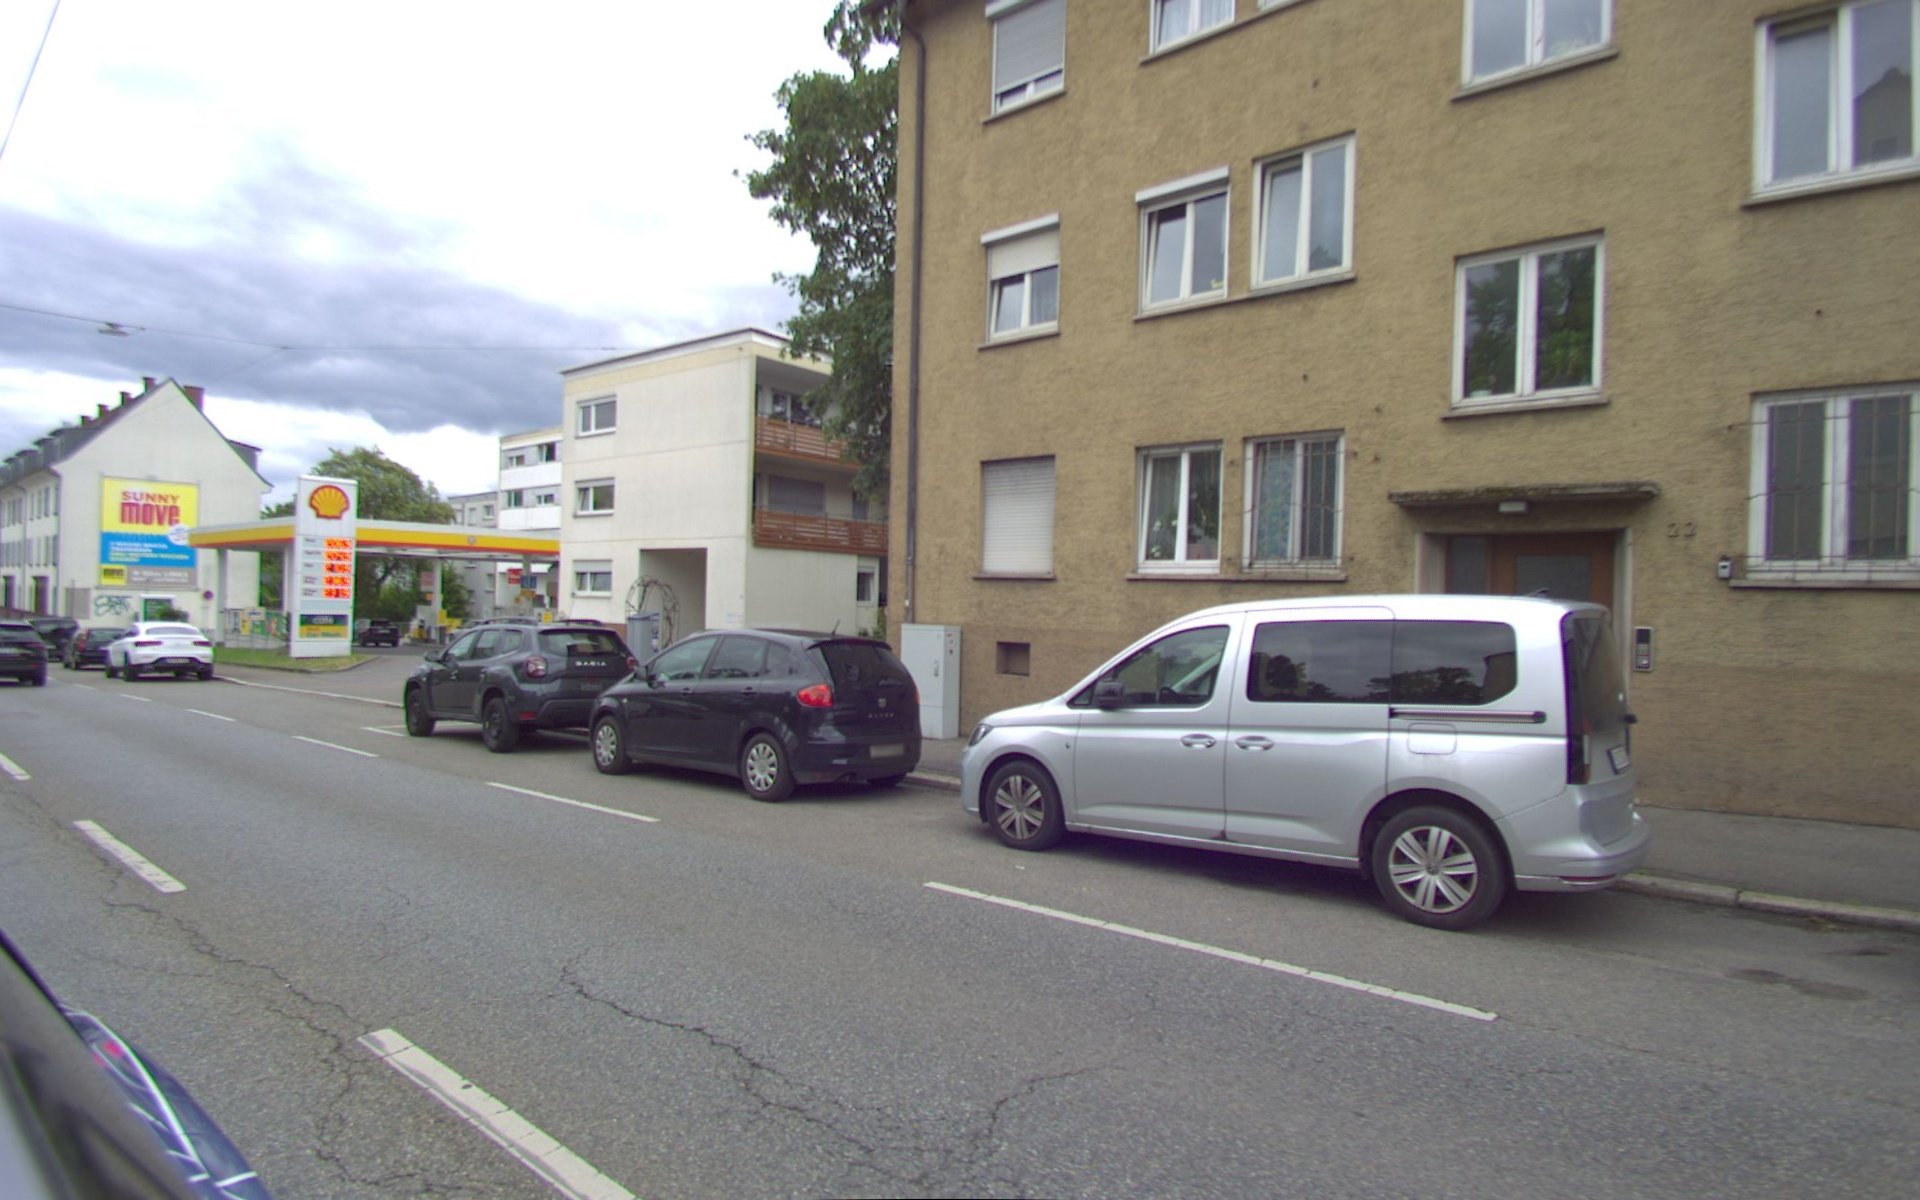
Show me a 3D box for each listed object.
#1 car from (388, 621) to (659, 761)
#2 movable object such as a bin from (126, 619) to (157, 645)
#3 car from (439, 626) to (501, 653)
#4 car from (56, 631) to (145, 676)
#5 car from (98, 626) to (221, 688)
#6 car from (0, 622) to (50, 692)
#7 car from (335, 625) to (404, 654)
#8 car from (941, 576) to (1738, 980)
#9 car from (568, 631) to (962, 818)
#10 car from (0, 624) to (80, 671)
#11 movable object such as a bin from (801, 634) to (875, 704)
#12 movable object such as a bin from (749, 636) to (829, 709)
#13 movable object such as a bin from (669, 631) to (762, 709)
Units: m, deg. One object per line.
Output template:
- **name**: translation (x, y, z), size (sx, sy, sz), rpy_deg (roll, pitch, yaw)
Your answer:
- **car**: translation (-6.082, 1.162, 13.886), size (4.263, 1.621, 1.763), rpy_deg (-2, -5, 42)
- **movable object such as a bin**: translation (-50.660, 1.970, 62.652), size (1.104, 1.550, 1.252), rpy_deg (-2, -4, 41)
- **car**: translation (-26.836, 2.143, 55.403), size (3.634, 1.431, 1.779), rpy_deg (-2, -2, 41)
- **car**: translation (-29.344, 1.790, 34.499), size (4.744, 1.442, 1.778), rpy_deg (-2, -4, 43)
- **car**: translation (-22.563, 1.552, 28.460), size (4.698, 1.589, 1.895), rpy_deg (-2, -3, 42)
- **car**: translation (-23.810, 1.357, 24.724), size (4.162, 1.602, 1.821), rpy_deg (-2, -3, 41)
- **car**: translation (-30.475, 2.024, 52.177), size (4.414, 1.431, 1.779), rpy_deg (-2, -2, 41)
- **car**: translation (2.152, 0.862, 6.630), size (4.555, 1.767, 1.758), rpy_deg (-2, -4, 41)
- **car**: translation (-2.111, 1.107, 10.364), size (4.095, 1.542, 1.734), rpy_deg (-1, -3, 39)
- **car**: translation (-38.275, 1.949, 42.035), size (4.697, 1.849, 1.833), rpy_deg (-2, -4, 40)
- **movable object such as a bin**: translation (-2.663, 1.487, 22.189), size (0.912, 1.439, 1.379), rpy_deg (-2, -2, 38)
- **movable object such as a bin**: translation (-3.552, 1.477, 21.075), size (0.912, 1.439, 1.379), rpy_deg (-2, -2, 38)
- **movable object such as a bin**: translation (-4.821, 1.354, 19.980), size (1.277, 1.439, 1.269), rpy_deg (-2, -2, 37)
